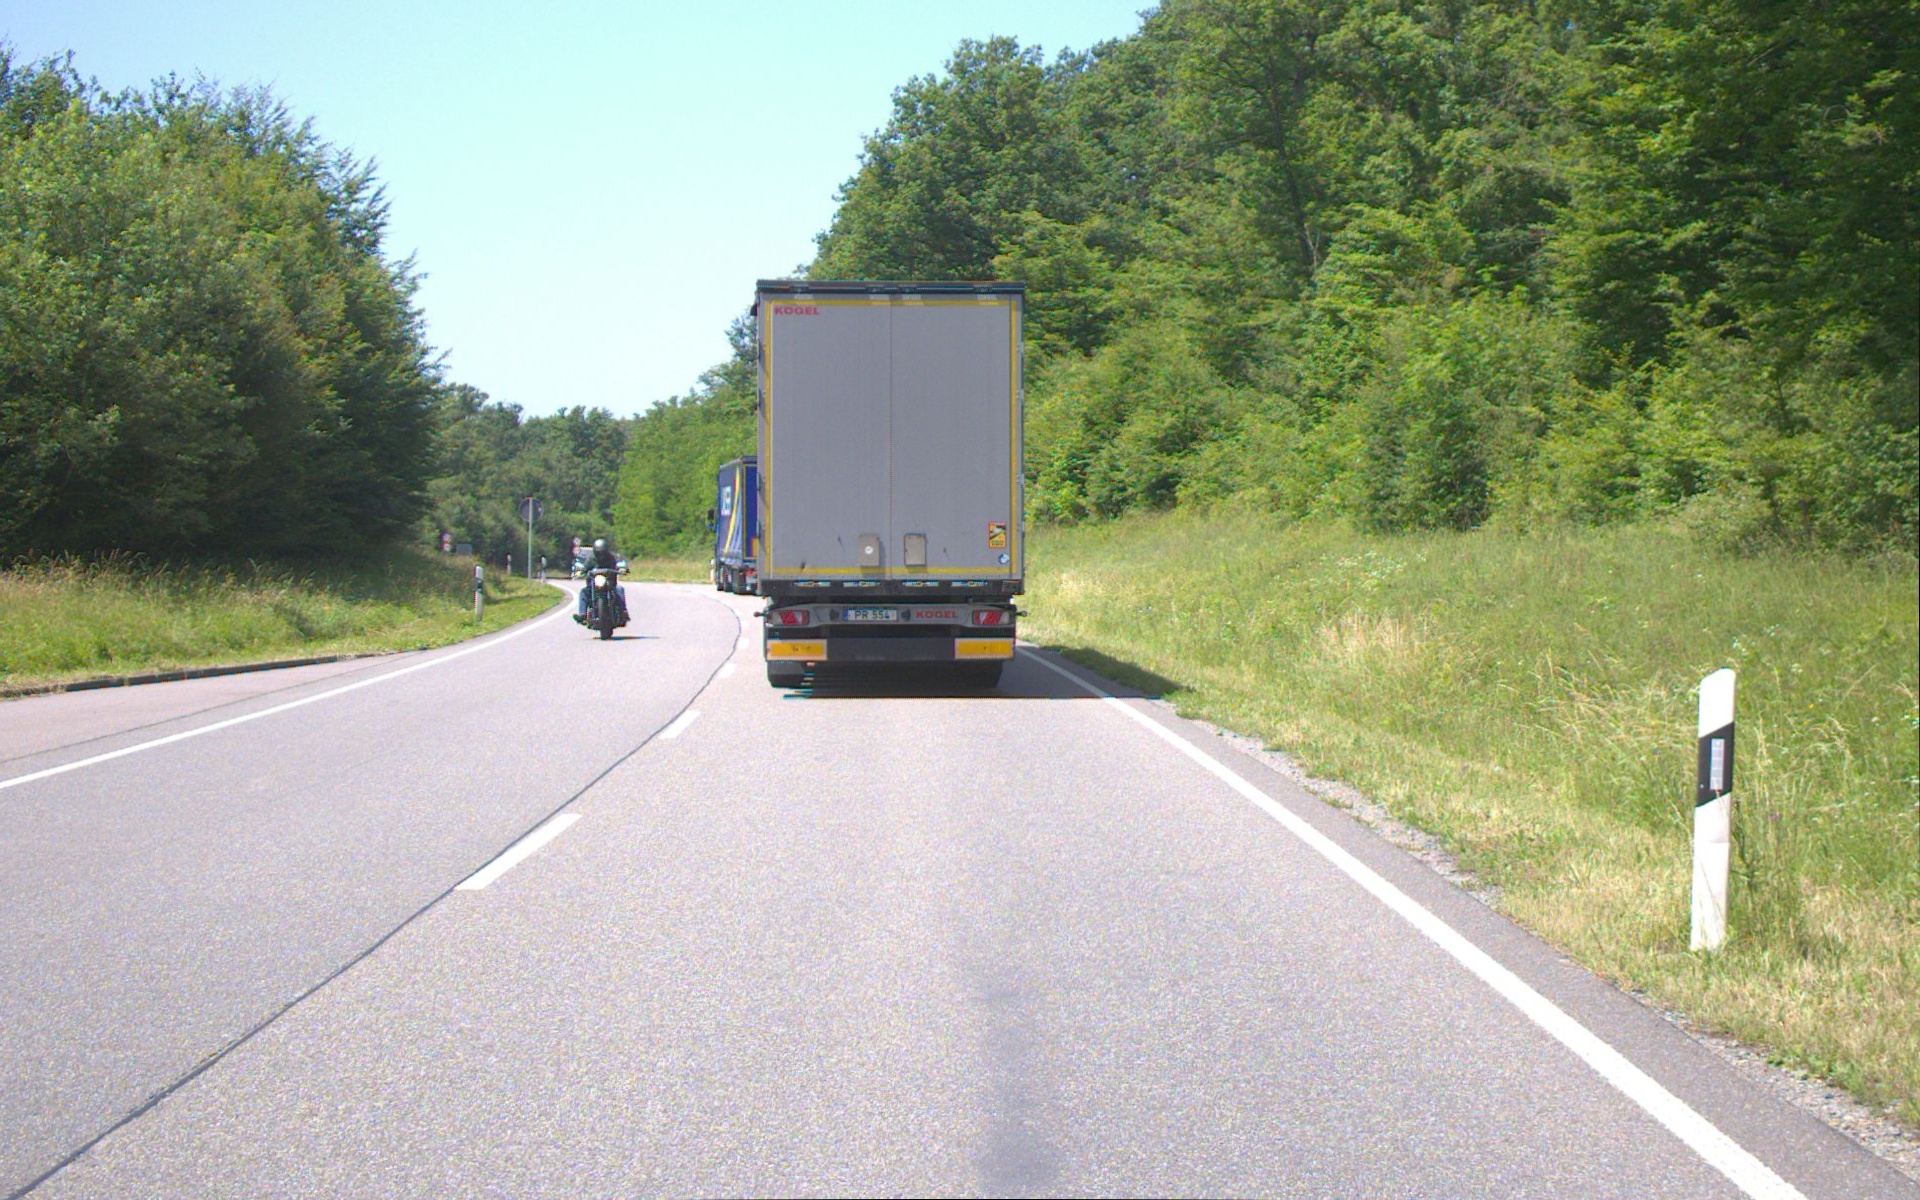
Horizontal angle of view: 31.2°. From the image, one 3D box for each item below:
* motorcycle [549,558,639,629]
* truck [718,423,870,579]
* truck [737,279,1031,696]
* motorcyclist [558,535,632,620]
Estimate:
[{"bbox_3d":[-5.748,-0.118,54.204,1.014,1.059,2.772,0,1,2],"label":"motorcycle"},{"bbox_3d":[-5.251,-2.969,105.313,3.792,4.358,14.923,1,1,-6],"label":"truck"},{"bbox_3d":[-0.825,-1.163,38.642,2.761,3.933,12.198,0,1,-1],"label":"truck"},{"bbox_3d":[-5.746,-0.367,54.169,1.009,1.322,0.965,0,1,3],"label":"motorcyclist"}]
